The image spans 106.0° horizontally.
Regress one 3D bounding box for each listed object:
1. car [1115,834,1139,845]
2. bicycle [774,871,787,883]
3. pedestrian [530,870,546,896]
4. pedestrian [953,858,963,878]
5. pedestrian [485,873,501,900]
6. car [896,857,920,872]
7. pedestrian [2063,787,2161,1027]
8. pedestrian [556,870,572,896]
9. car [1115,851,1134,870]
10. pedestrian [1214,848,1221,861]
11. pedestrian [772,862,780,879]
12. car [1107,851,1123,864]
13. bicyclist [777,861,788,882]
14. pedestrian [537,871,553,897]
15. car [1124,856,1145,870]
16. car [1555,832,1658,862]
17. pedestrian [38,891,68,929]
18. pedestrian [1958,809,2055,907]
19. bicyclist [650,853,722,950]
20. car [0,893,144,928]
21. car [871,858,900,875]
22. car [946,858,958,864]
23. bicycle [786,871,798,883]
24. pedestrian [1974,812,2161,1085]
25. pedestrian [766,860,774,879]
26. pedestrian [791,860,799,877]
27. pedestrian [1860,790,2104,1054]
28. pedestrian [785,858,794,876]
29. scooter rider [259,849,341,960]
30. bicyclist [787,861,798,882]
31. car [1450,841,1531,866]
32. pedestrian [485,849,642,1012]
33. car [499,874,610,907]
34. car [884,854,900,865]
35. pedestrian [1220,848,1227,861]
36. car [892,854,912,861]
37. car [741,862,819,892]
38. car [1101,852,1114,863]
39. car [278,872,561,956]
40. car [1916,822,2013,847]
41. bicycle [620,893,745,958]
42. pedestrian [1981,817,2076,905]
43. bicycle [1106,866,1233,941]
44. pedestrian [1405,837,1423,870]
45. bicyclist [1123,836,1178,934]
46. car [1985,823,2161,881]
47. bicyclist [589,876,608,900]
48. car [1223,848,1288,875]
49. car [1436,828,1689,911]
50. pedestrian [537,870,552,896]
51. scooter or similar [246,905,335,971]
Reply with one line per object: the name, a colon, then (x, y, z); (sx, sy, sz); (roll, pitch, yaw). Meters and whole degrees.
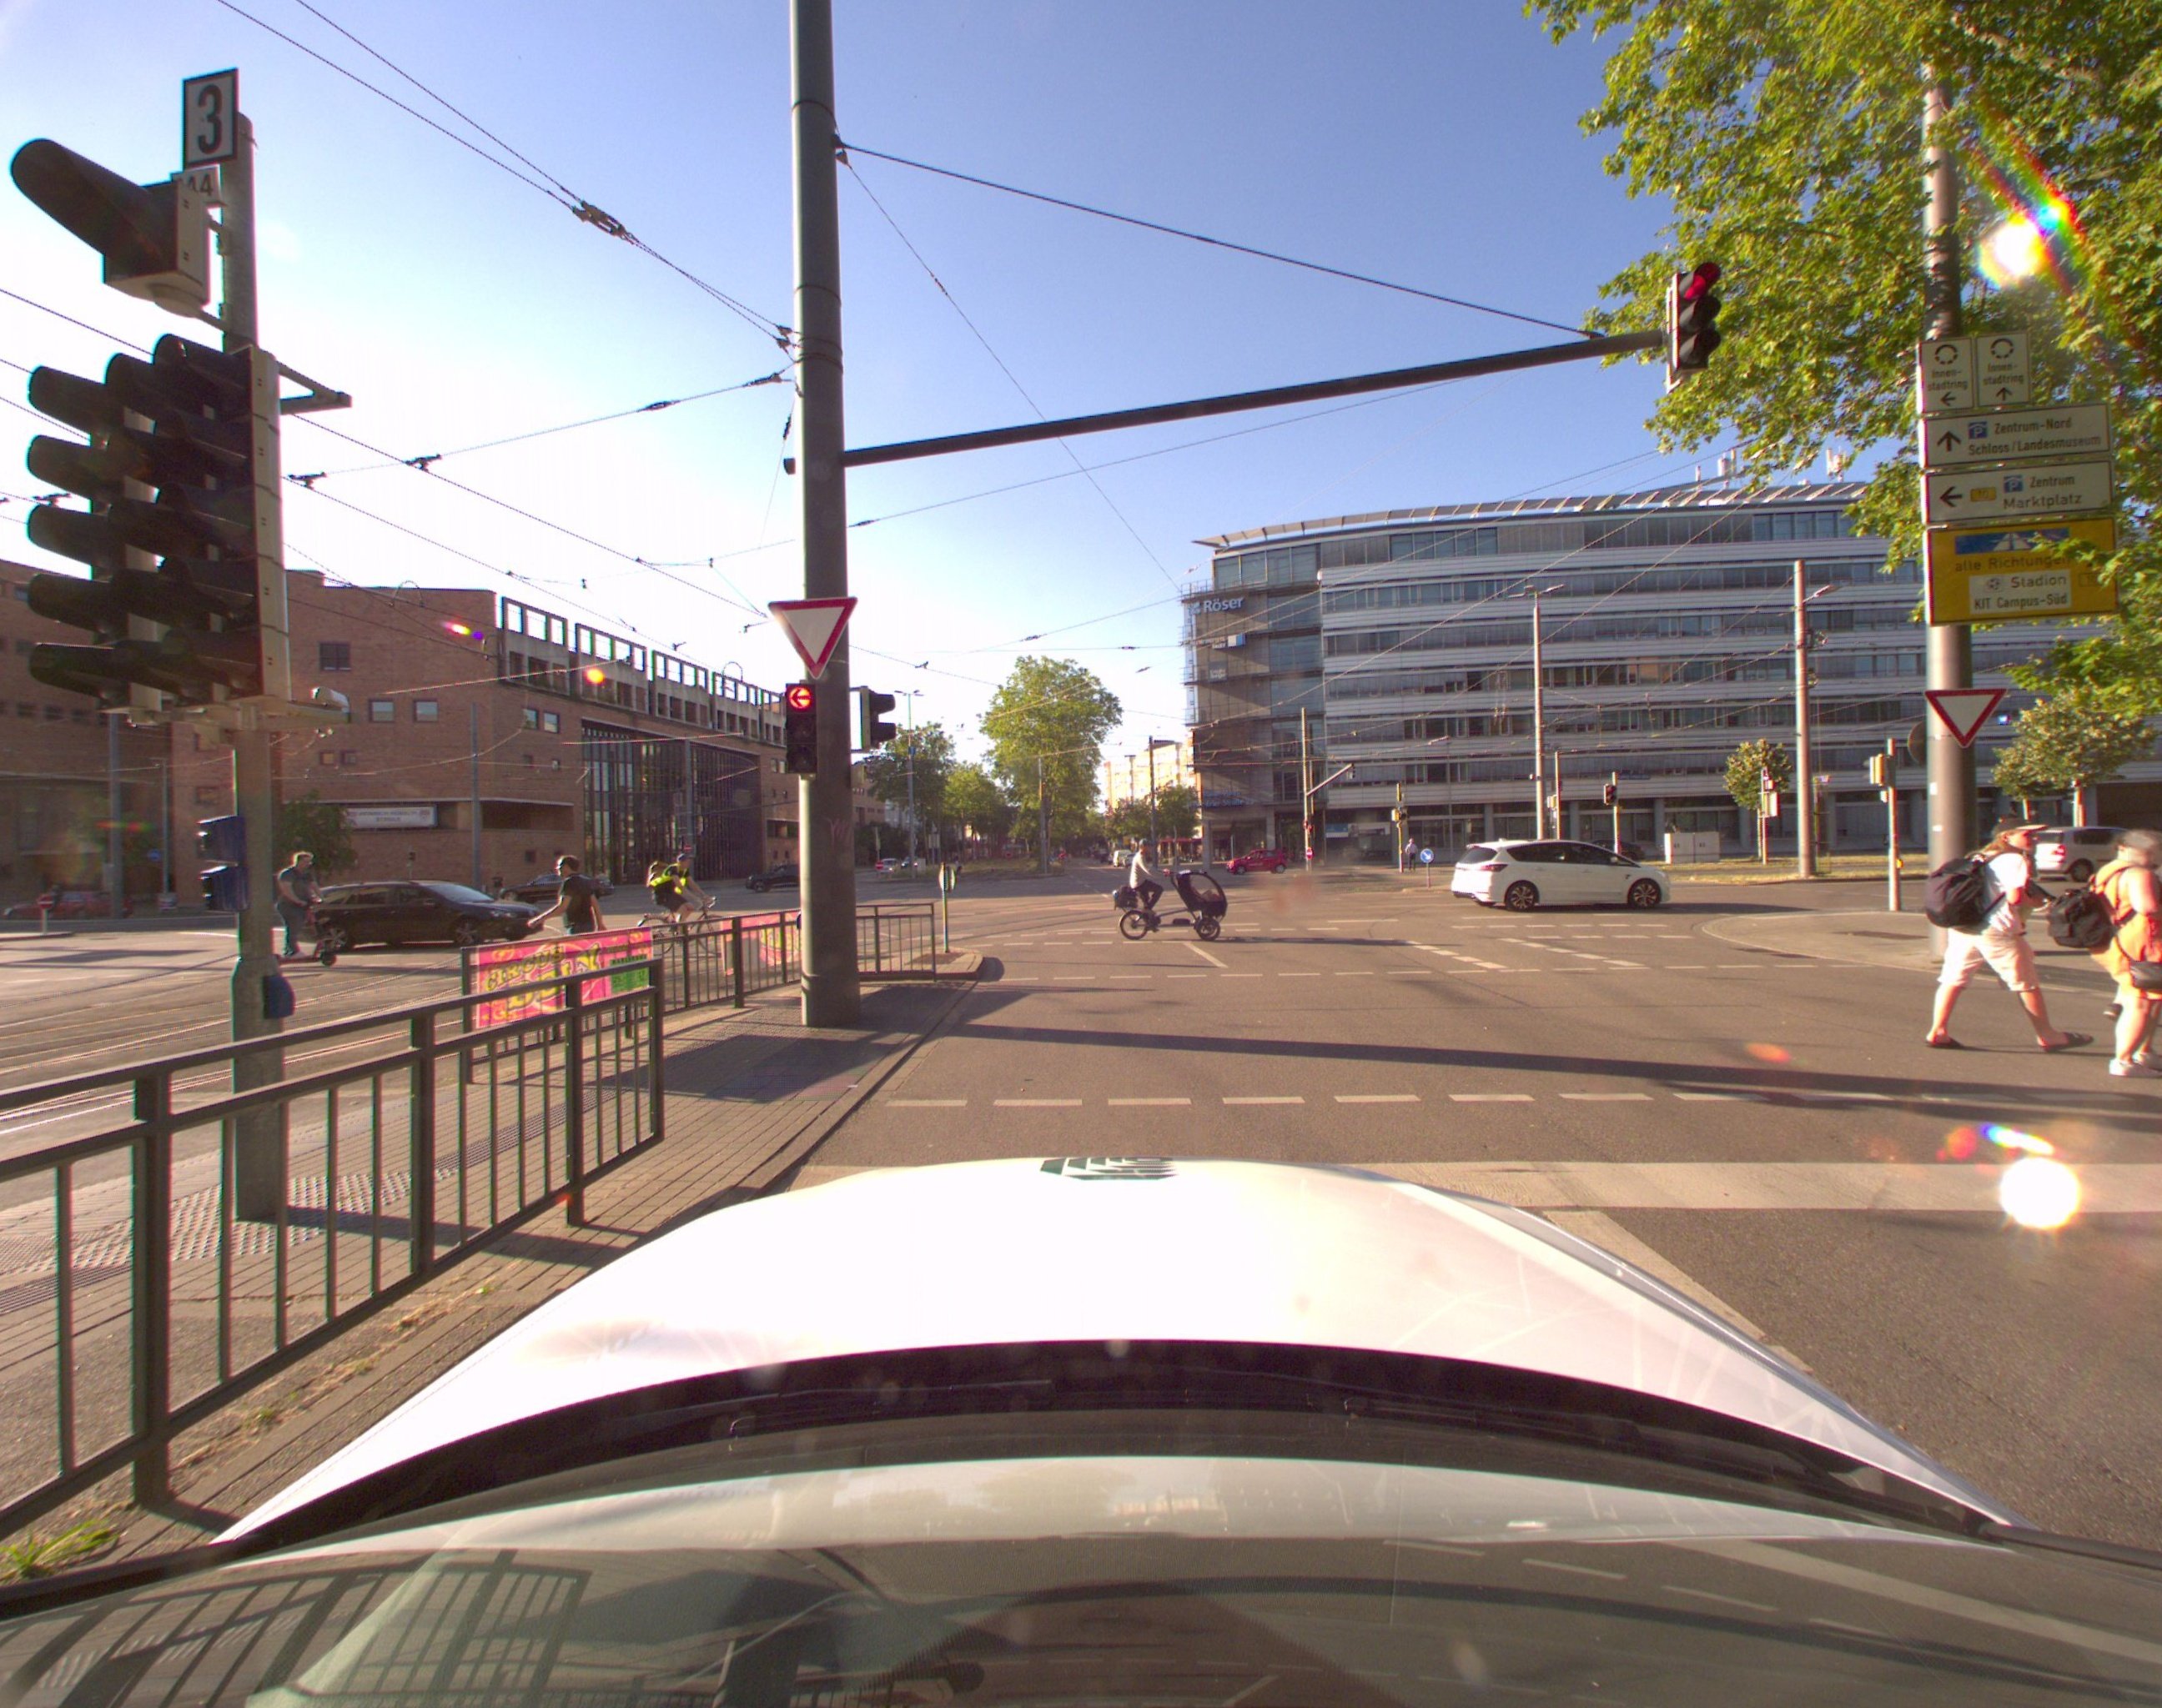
car: (7.937, -2.539, 140.819); (3.732, 1.750, 1.789); (0, -1, 16)
bicycle: (-24.421, 1.879, 66.274); (0.512, 0.881, 1.835); (-2, 0, -6)
pedestrian: (-35.782, 1.915, 53.676); (0.623, 1.650, 0.537); (-2, 0, -9)
pedestrian: (-9.594, 1.084, 63.569); (0.753, 1.530, 0.507); (-1, 0, -6)
pedestrian: (-35.348, 1.959, 48.922); (0.538, 1.613, 0.575); (-2, 0, 33)
car: (-19.374, 1.136, 91.344); (1.990, 1.508, 3.994); (-2, 0, -4)
pedestrian: (9.085, 0.416, 6.662); (1.143, 1.893, 0.831); (-1, 0, -6)
pedestrian: (-33.829, 1.866, 53.294); (0.622, 1.650, 0.538); (-2, 0, -3)
car: (4.743, 0.672, 89.774); (1.986, 1.991, 4.002); (-2, 0, 2)
pedestrian: (15.583, 0.045, 93.200); (0.734, 1.465, 0.538); (-2, 0, 11)
pedestrian: (-31.510, 1.697, 84.205); (0.487, 1.810, 0.547); (-2, 0, 9)
car: (4.389, 0.439, 105.110); (1.986, 1.662, 4.002); (-2, 0, 2)
bicyclist: (-24.355, 1.406, 66.374); (0.592, 1.675, 0.788); (-2, 0, -4)
pedestrian: (-34.461, 1.904, 52.367); (0.623, 1.650, 0.537); (-2, 0, -8)
car: (5.432, 0.866, 82.912); (1.986, 1.332, 4.002); (-2, 0, 2)
car: (27.958, -0.353, 43.429); (4.219, 1.392, 1.799); (-2, 0, 6)
pedestrian: (-45.815, 2.482, 36.305); (0.542, 1.613, 0.613); (0, 1, -3)
pedestrian: (17.649, 0.078, 15.554); (0.840, 1.820, 0.870); (-1, 0, 9)
bicyclist: (-7.000, 0.820, 14.456); (0.900, 1.664, 0.640); (-2, 0, 4)
car: (-48.401, 2.698, 39.112); (4.238, 1.392, 1.790); (-2, 0, -8)
car: (-18.516, 1.143, 77.153); (1.990, 1.508, 3.994); (-2, 0, -4)
car: (-34.682, 1.750, 218.713); (1.982, 1.508, 4.011); (-2, 0, 9)
bicycle: (-23.598, 1.887, 66.559); (0.512, 0.881, 1.835); (-2, 0, -6)
pedestrian: (6.909, 0.577, 5.446); (1.071, 1.681, 0.756); (-1, 0, -6)
pedestrian: (-31.519, 1.566, 82.559); (0.487, 1.810, 0.547); (-2, 0, 9)
pedestrian: (-29.496, 1.491, 84.072); (0.519, 1.779, 0.547); (-2, 0, 9)
pedestrian: (6.814, 0.479, 6.201); (1.072, 1.871, 0.737); (-1, 0, -6)
pedestrian: (-29.554, 1.355, 82.485); (0.637, 1.810, 0.547); (-2, 0, 9)
scooter rider: (-13.886, 0.877, 14.501); (0.660, 1.896, 0.737); (-2, 0, 4)
bicyclist: (-23.587, 1.405, 66.611); (0.592, 1.675, 0.788); (-2, 0, -4)
car: (24.987, -0.033, 49.833); (3.965, 1.348, 1.980); (-2, 0, 7)
pedestrian: (-6.201, 0.876, 9.845); (1.207, 1.822, 1.040); (-2, -1, -5)
car: (-26.477, 1.812, 41.084); (4.238, 1.434, 1.790); (-2, 0, -8)
car: (-26.409, 0.795, 114.135); (1.906, 1.510, 3.987); (0, -1, -9)
pedestrian: (16.319, 0.107, 93.021); (0.701, 1.465, 0.385); (-2, 0, 11)
car: (-38.392, 0.723, 174.618); (4.011, 1.552, 1.592); (0, -1, -29)
car: (-17.000, 1.297, 46.182); (3.865, 1.507, 1.787); (-2, 0, -13)
car: (4.141, 0.584, 126.848); (1.986, 1.662, 4.002); (-2, 0, 2)
car: (-14.287, 1.250, 17.845); (4.376, 1.517, 1.997); (-2, 1, -5)
car: (55.150, -1.212, 50.898); (3.970, 1.398, 1.761); (-2, 0, 3)
bicycle: (-7.058, 1.257, 14.465); (1.914, 1.064, 0.630); (-1, 0, 4)
pedestrian: (18.707, 0.139, 16.106); (0.840, 1.681, 0.870); (-1, 0, 9)
bicycle: (1.570, 0.865, 14.538); (2.147, 1.226, 1.074); (-1, 1, 5)
pedestrian: (17.350, -0.022, 42.438); (0.715, 1.681, 0.558); (-1, 0, 9)
bicyclist: (1.251, 0.540, 14.604); (0.900, 1.681, 0.692); (-2, 0, 5)
car: (27.620, -0.067, 22.154); (3.891, 1.434, 1.827); (-2, 0, 4)
bicyclist: (-27.815, 1.949, 46.944); (0.820, 1.366, 0.398); (-2, 0, -15)
car: (10.637, 0.449, 49.793); (3.585, 1.466, 1.795); (-2, 0, -1)
car: (11.276, 0.352, 19.340); (4.819, 1.727, 2.000); (-2, 0, -1)
pedestrian: (-35.012, 1.903, 53.141); (0.623, 1.650, 0.537); (-2, 0, -6)
scooter or similar: (-14.007, 1.482, 14.432); (1.201, 1.104, 0.403); (-2, 0, 4)
